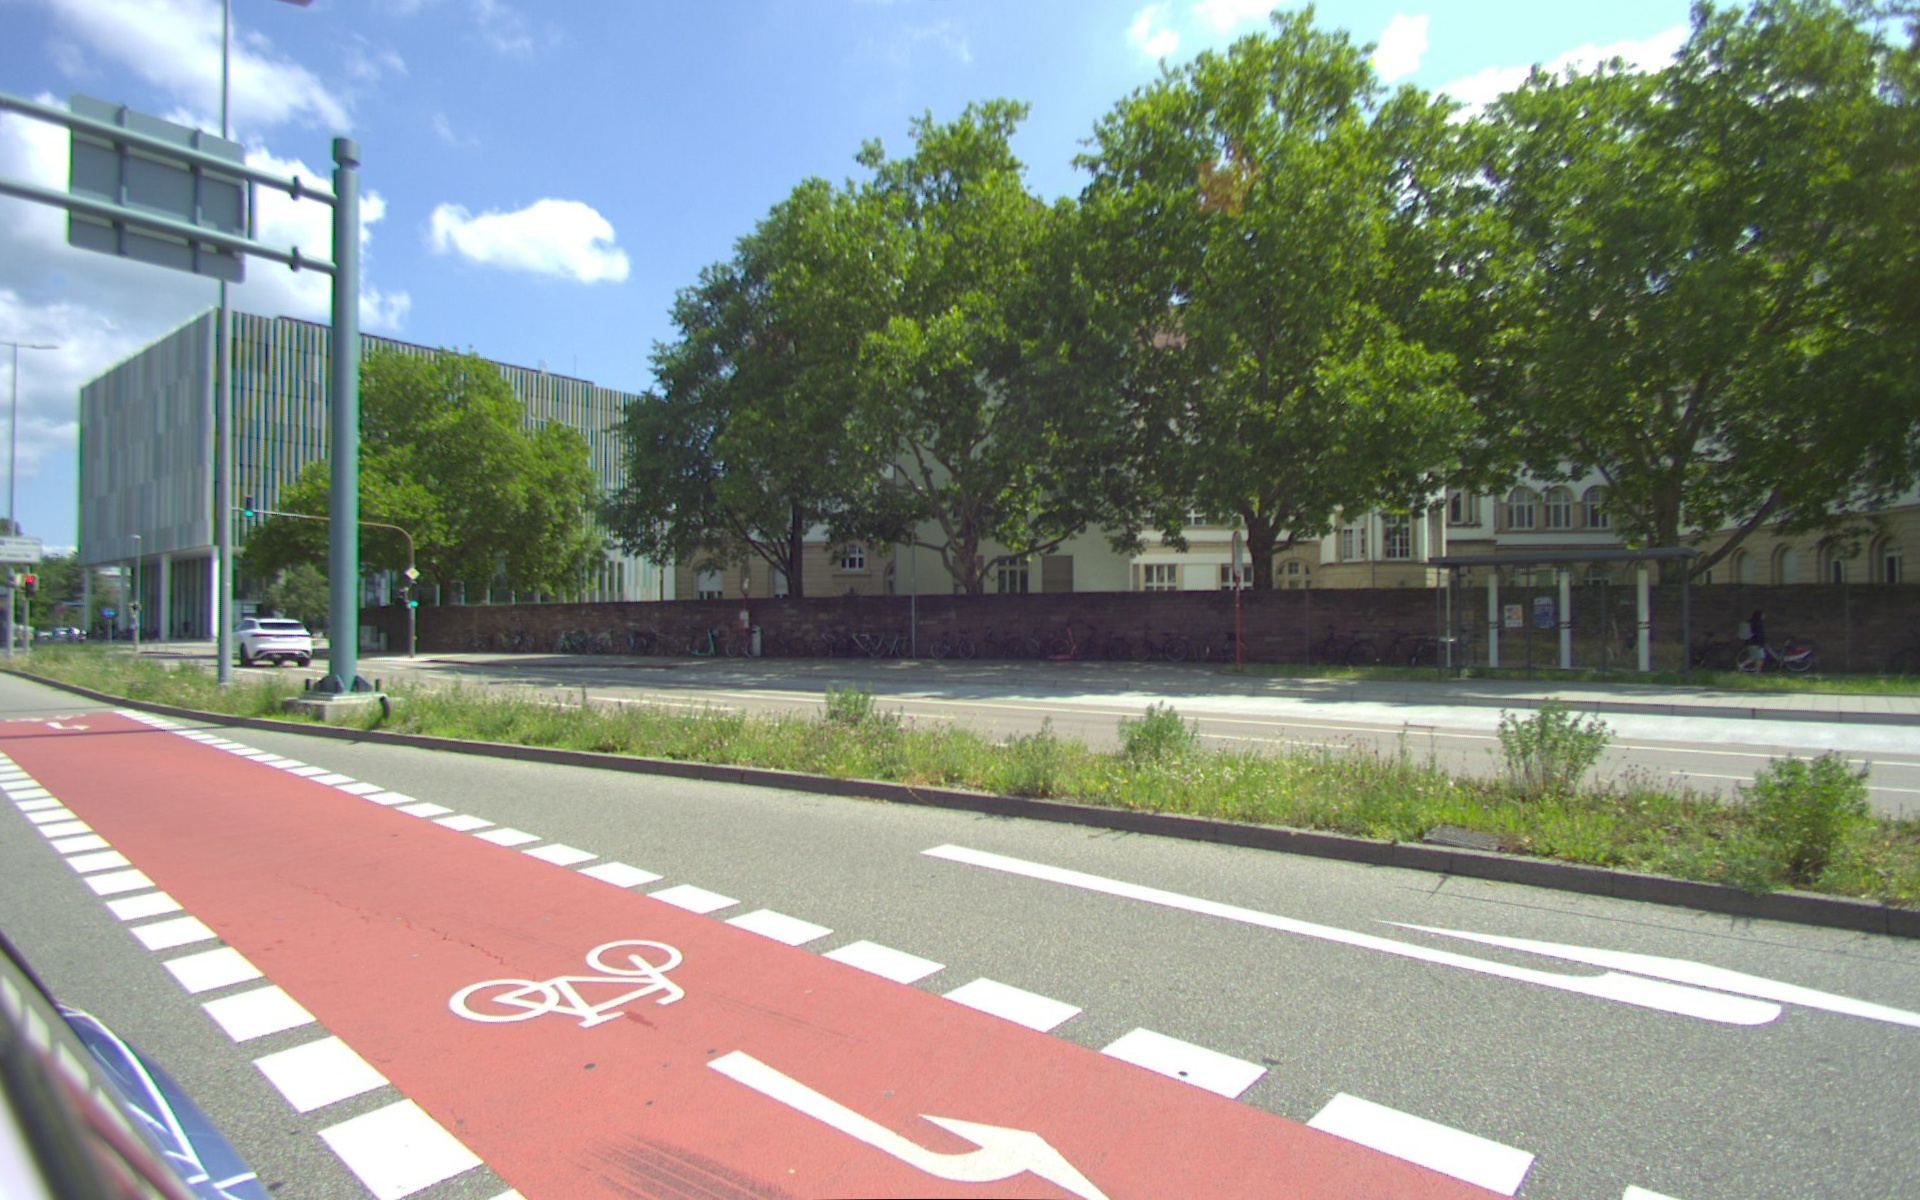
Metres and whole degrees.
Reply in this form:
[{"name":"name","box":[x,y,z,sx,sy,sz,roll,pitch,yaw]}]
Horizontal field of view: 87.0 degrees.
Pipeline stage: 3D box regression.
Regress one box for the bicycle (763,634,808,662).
[{"name":"bicycle","box":[-6.483,1.763,37.653,1.795,1.016,0.476,-1,-2,32]}]

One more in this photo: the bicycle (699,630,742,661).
[{"name":"bicycle","box":[-9.294,1.765,39.266,1.582,1.161,0.530,-1,-2,19]}]

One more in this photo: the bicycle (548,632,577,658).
[{"name":"bicycle","box":[-17.604,1.984,44.773,1.591,1.161,0.409,-2,-2,36]}]

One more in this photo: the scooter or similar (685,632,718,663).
[{"name":"scooter or similar","box":[-9.934,1.820,38.865,1.184,1.161,0.430,-1,-2,20]}]

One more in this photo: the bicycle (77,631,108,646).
[{"name":"bicycle","box":[-94.123,4.169,109.763,0.621,1.506,2.479,-2,-2,41]}]

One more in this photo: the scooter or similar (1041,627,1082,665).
[{"name":"scooter or similar","box":[3.181,1.435,31.715,1.184,1.192,0.430,-1,-2,20]}]

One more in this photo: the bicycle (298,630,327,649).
[{"name":"bicycle","box":[-54.706,3.352,85.569,0.983,1.564,3.423,0,-2,-13]}]

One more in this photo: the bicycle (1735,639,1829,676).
[{"name":"bicycle","box":[20.821,1.443,25.664,1.781,0.909,0.450,-1,-2,21]}]

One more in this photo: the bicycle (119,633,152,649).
[{"name":"bicycle","box":[-80.928,3.994,99.362,0.621,1.506,2.479,-2,-2,41]}]

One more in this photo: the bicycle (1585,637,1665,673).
[{"name":"bicycle","box":[17.515,1.446,26.673,1.653,0.909,0.541,-1,-2,21]}]

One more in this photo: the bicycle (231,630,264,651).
[{"name":"bicycle","box":[-59.881,3.385,85.134,0.797,1.656,3.421,0,-2,-8]}]

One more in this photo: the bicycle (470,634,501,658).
[{"name":"bicycle","box":[-22.436,2.180,47.811,1.589,1.107,0.567,-2,-2,33]}]

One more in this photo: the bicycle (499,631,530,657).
[{"name":"bicycle","box":[-20.508,2.037,46.603,1.589,1.161,0.495,-2,-2,33]}]

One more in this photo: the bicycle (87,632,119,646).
[{"name":"bicycle","box":[-91.123,4.132,107.593,0.621,1.506,2.479,-2,-2,41]}]

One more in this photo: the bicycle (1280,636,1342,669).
[{"name":"bicycle","box":[10.167,1.519,29.317,1.656,0.909,0.540,-1,-2,26]}]

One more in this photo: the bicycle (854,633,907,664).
[{"name":"bicycle","box":[-2.794,1.675,35.405,1.887,1.055,0.540,-1,-2,29]}]

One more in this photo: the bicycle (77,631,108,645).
[{"name":"bicycle","box":[-94.585,4.178,110.301,0.621,1.506,2.479,-2,-2,41]}]

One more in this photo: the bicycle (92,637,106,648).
[{"name":"bicycle","box":[-79.438,3.929,93.349,2.161,1.006,0.639,-2,-2,39]}]

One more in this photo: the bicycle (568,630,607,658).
[{"name":"bicycle","box":[-15.862,1.870,43.073,1.576,1.161,0.401,-1,-2,8]}]

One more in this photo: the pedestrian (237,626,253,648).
[{"name":"pedestrian","box":[-62.613,3.244,88.636,0.955,1.940,0.882,0,-1,-23]}]

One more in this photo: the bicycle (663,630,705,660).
[{"name":"bicycle","box":[-10.917,1.776,40.036,1.582,1.161,0.530,-1,-2,19]}]

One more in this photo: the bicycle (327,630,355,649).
[{"name":"bicycle","box":[-52.321,3.360,85.605,0.983,1.564,3.423,0,-2,-13]}]

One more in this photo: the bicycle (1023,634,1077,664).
[{"name":"bicycle","box":[2.899,1.569,32.612,1.658,0.909,0.540,-1,-2,29]}]

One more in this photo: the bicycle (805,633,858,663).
[{"name":"bicycle","box":[-4.643,1.718,36.553,1.941,1.055,0.540,-1,-2,29]}]

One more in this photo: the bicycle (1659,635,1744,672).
[{"name":"bicycle","box":[19.110,1.379,26.129,1.653,0.909,0.541,-1,-2,21]}]

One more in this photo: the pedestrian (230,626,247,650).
[{"name":"pedestrian","box":[-60.919,3.200,85.434,0.955,1.940,0.882,0,-1,-20]}]

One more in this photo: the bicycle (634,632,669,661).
[{"name":"bicycle","box":[-12.550,1.889,41.129,1.587,1.161,0.398,-1,-2,30]}]

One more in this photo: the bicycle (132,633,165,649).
[{"name":"bicycle","box":[-77.942,3.958,97.188,0.621,1.506,2.420,-2,-2,41]}]

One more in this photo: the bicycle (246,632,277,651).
[{"name":"bicycle","box":[-58.838,3.473,85.233,0.919,1.505,2.690,0,-1,-5]}]

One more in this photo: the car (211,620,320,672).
[{"name":"car","box":[-24.000,1.566,34.903,4.774,1.680,2.049,-2,-2,42]}]

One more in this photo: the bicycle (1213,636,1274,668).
[{"name":"bicycle","box":[8.349,1.523,29.874,1.663,0.909,0.497,-2,-2,38]}]

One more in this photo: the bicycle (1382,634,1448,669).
[{"name":"bicycle","box":[12.710,1.429,28.294,1.655,0.959,0.541,-1,-2,24]}]

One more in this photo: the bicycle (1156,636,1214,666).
[{"name":"bicycle","box":[6.836,1.545,30.790,1.656,0.909,0.540,-1,-2,26]}]

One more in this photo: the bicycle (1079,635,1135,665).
[{"name":"bicycle","box":[4.594,1.552,31.742,1.658,0.909,0.540,-1,-2,29]}]

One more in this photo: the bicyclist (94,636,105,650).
[{"name":"bicyclist","box":[-79.317,3.973,93.294,0.832,1.235,0.611,-2,-2,37]}]

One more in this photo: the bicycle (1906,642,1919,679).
[{"name":"bicycle","box":[24.184,1.466,24.568,1.653,0.909,0.541,-1,-2,21]}]

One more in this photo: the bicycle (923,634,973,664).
[{"name":"bicycle","box":[-0.409,1.638,34.004,1.658,0.956,0.540,-1,-2,29]}]

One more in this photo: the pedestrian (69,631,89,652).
[{"name":"pedestrian","box":[-68.529,3.224,78.696,0.876,1.641,0.961,-1,-2,33]}]

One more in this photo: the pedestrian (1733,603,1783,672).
[{"name":"pedestrian","box":[19.088,0.891,24.220,0.752,1.629,0.612,-1,-1,20]}]

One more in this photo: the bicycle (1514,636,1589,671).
[{"name":"bicycle","box":[15.902,1.445,27.250,1.653,0.909,0.541,-1,-2,21]}]

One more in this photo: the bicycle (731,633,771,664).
[{"name":"bicycle","box":[-7.964,1.855,38.534,1.587,1.151,0.429,-1,-2,29]}]

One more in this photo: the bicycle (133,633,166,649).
[{"name":"bicycle","box":[-78.522,3.972,98.060,2.473,1.506,0.731,1,-2,-39]}]

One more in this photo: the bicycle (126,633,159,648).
[{"name":"bicycle","box":[-81.138,4.015,100.508,0.621,1.506,2.479,-2,-2,41]}]

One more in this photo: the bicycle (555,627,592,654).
[{"name":"bicycle","box":[-16.721,1.744,43.772,1.581,1.161,0.400,-1,-2,18]}]

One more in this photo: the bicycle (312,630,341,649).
[{"name":"bicycle","box":[-53.545,3.354,85.583,0.983,1.564,3.423,0,-2,-13]}]

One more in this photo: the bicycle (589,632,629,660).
[{"name":"bicycle","box":[-14.729,1.910,42.439,1.576,1.161,0.401,-1,-2,8]}]

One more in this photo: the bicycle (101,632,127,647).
[{"name":"bicycle","box":[-88.130,4.097,105.445,0.621,1.506,2.044,-2,-2,41]}]

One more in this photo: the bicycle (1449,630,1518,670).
[{"name":"bicycle","box":[14.238,1.367,27.585,1.614,1.059,0.541,-1,-2,24]}]

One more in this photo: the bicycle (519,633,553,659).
[{"name":"bicycle","box":[-19.102,2.066,45.620,1.589,1.161,0.616,-2,-2,33]}]
